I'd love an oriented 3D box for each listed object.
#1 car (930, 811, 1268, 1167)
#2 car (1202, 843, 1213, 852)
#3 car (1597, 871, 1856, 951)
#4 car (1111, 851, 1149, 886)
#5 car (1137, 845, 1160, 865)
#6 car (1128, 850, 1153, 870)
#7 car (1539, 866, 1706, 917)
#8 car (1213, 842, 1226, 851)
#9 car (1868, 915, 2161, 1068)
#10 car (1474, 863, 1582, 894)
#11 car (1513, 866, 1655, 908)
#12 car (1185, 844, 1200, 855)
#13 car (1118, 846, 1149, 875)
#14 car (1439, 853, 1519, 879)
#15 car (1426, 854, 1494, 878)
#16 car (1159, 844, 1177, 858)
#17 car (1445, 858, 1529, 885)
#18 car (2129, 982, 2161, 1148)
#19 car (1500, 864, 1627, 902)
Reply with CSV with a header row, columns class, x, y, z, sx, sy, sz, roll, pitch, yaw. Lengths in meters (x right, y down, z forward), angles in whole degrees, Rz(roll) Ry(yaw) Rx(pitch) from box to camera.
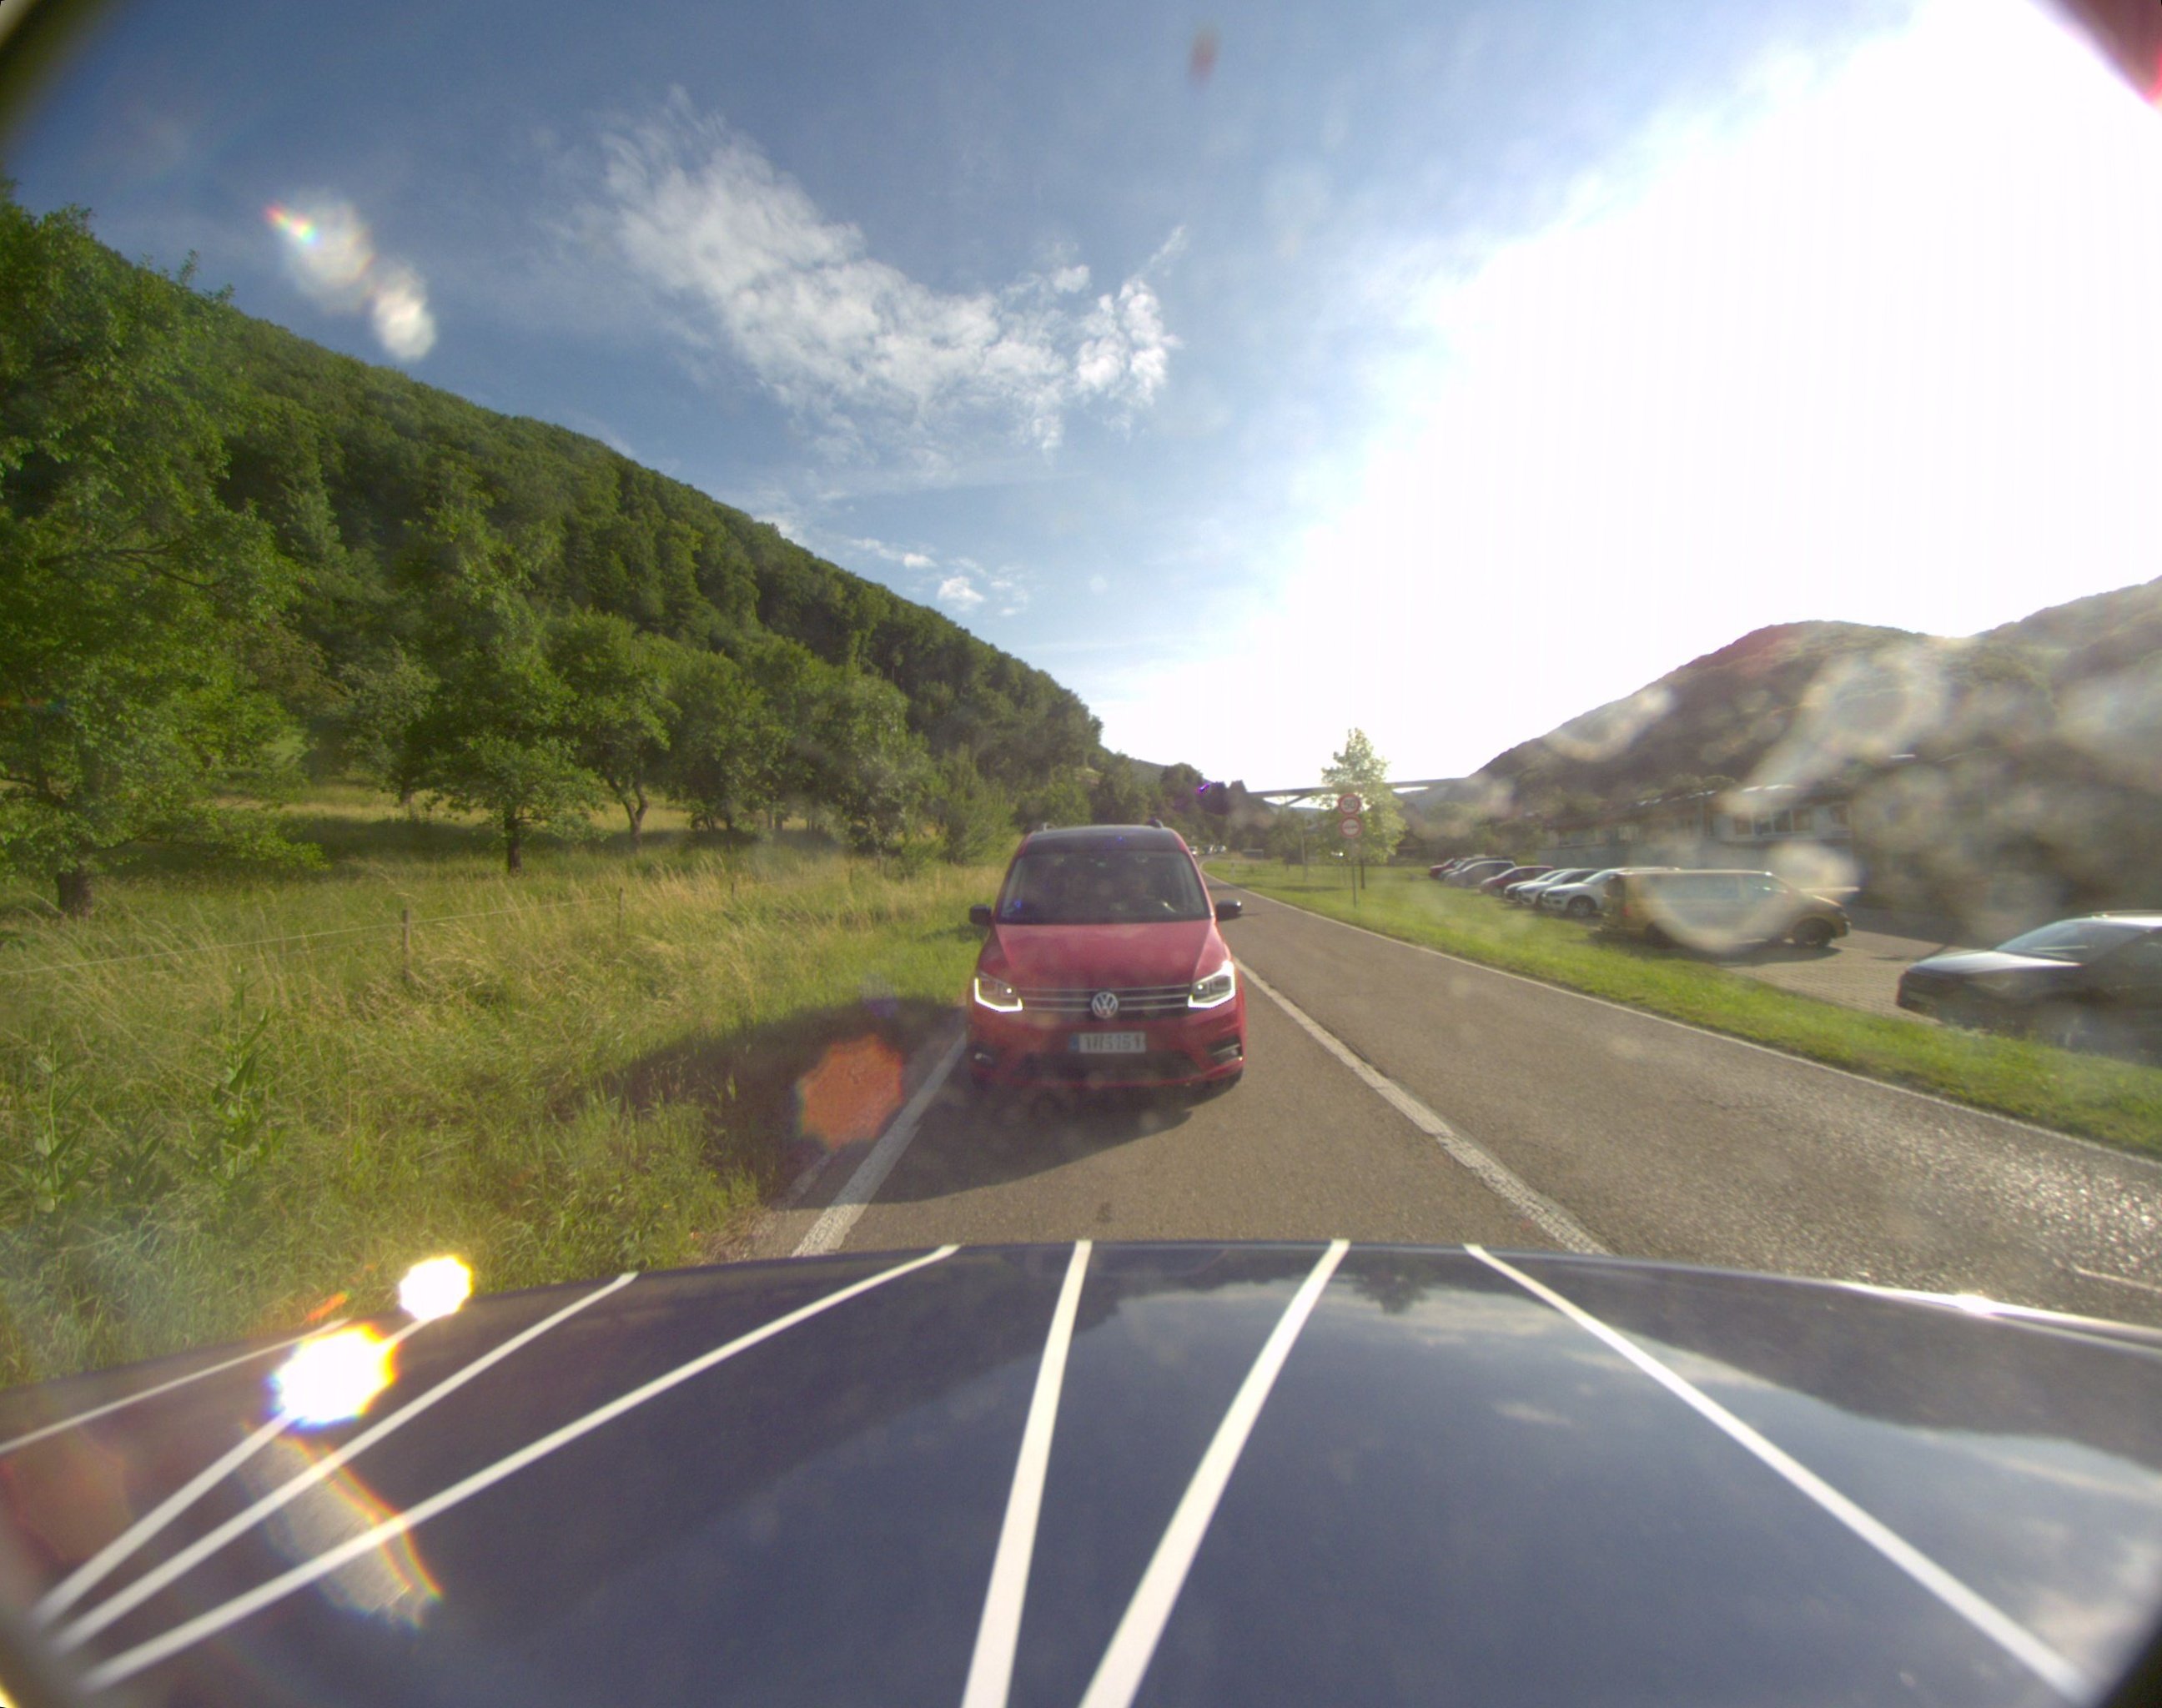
class,x,y,z,sx,sy,sz,roll,pitch,yaw
car,0.126,0.734,6.227,1.747,1.849,4.348,-2,0,1
car,24.044,-1.253,144.559,1.676,1.637,3.350,-2,0,17
car,16.288,1.393,19.509,4.653,1.802,2.003,-1,0,20
car,2.408,0.685,37.159,1.692,1.539,4.001,-2,0,4
car,6.583,0.121,73.480,1.997,1.838,4.002,-2,0,7
car,4.840,0.483,61.376,1.798,1.464,4.286,-2,0,7
car,19.328,1.324,27.380,4.545,1.691,2.003,-1,0,20
car,29.178,-1.581,159.731,1.996,1.707,4.005,-2,0,19
car,13.540,1.705,9.812,4.289,1.628,1.915,-3,0,15
car,22.707,1.245,38.808,4.437,1.443,2.003,-1,0,20
car,20.203,1.321,30.778,4.437,1.577,2.003,-1,0,20
car,18.129,-0.711,123.601,1.797,1.725,4.288,-2,0,15
car,3.440,0.416,49.549,1.901,1.717,4.001,-2,0,4
car,27.607,0.843,52.916,4.665,1.752,2.003,-1,0,18
car,28.897,0.932,58.090,4.437,1.709,2.003,-1,0,18
car,10.852,-0.400,94.779,1.911,1.675,4.004,-2,-1,11
car,25.810,1.110,48.455,4.437,1.573,2.003,-2,0,18
car,12.047,1.944,5.758,4.645,1.488,1.915,-1,0,15
car,21.413,1.268,33.933,4.437,1.573,2.003,-1,0,18
